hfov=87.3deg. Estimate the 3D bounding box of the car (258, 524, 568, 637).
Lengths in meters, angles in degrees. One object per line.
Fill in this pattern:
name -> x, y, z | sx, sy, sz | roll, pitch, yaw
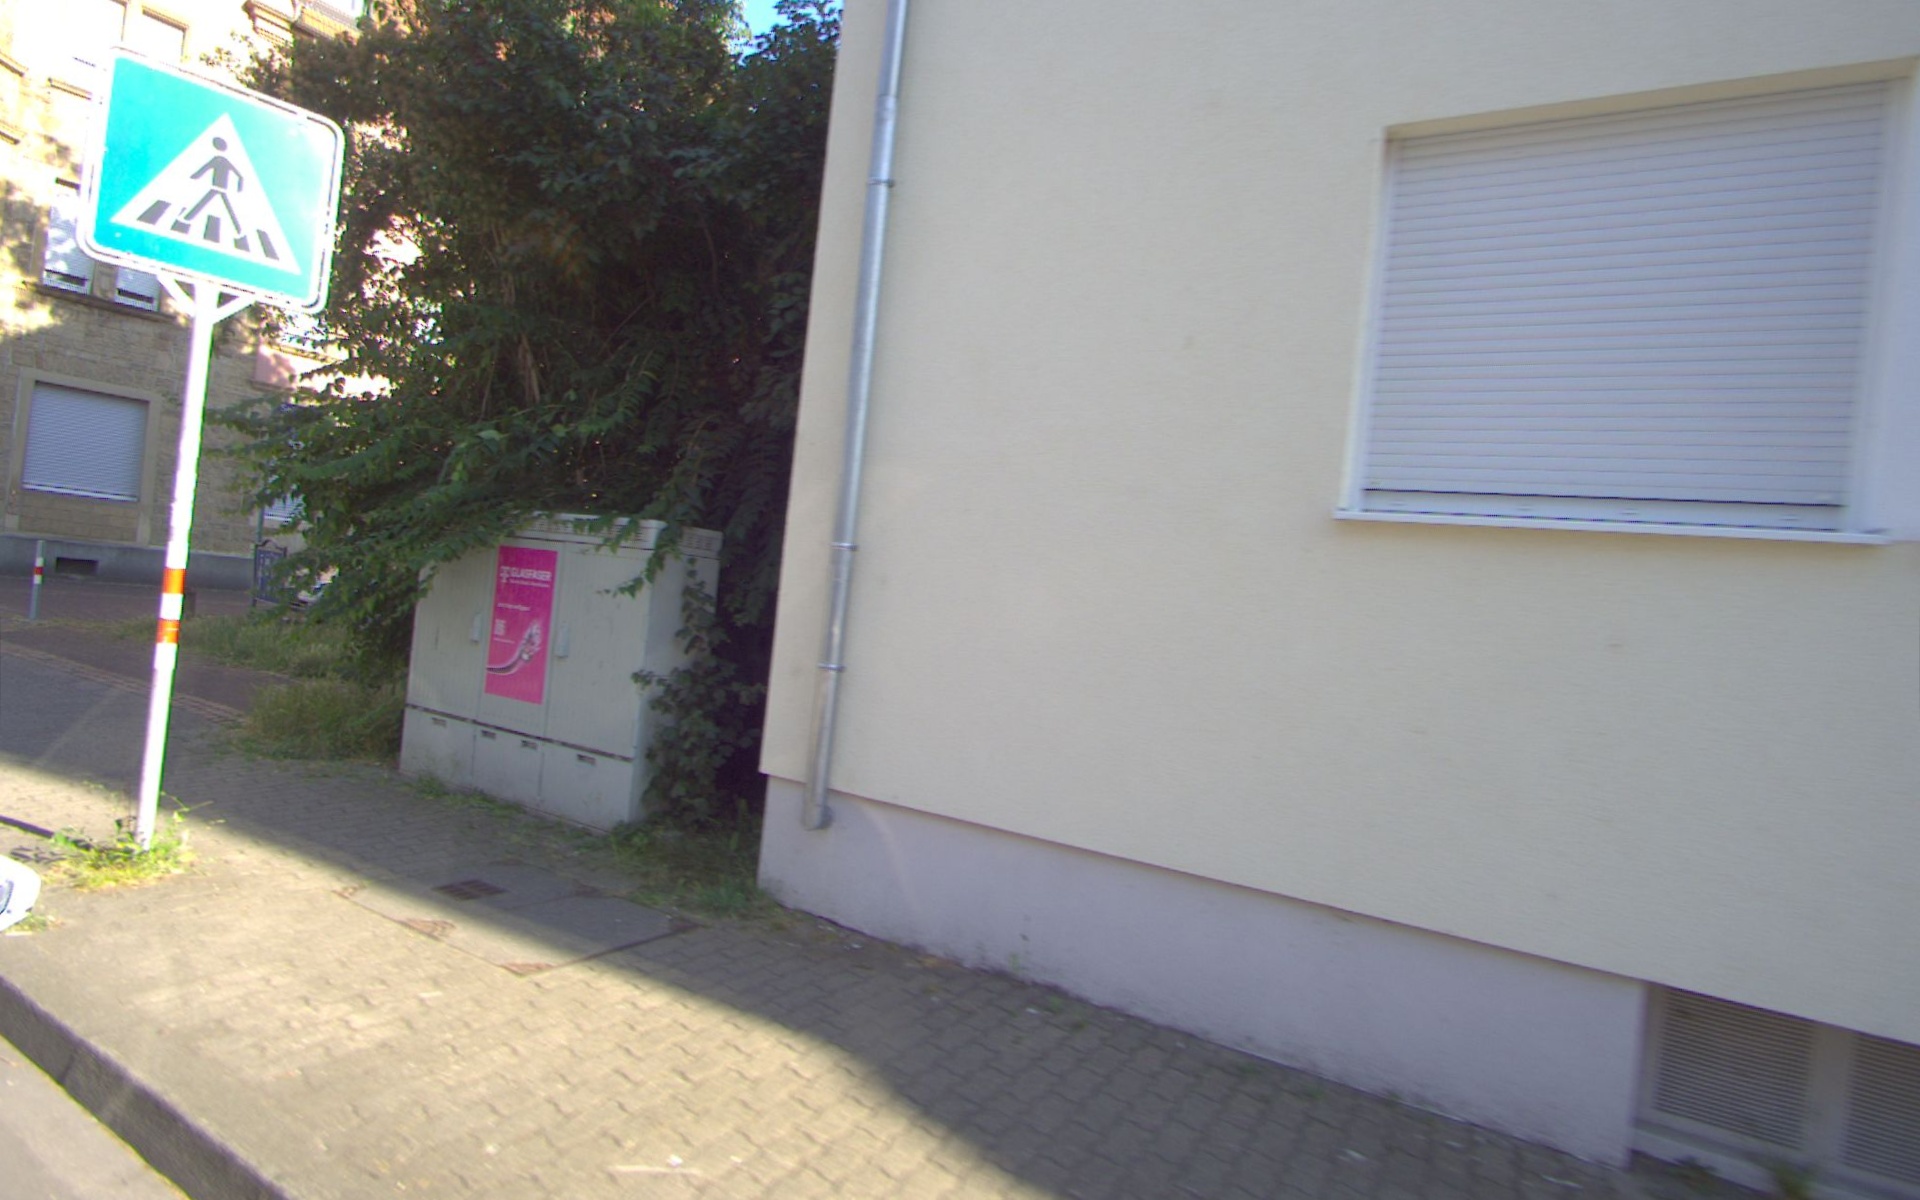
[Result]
car -> -8.755, -0.254, 16.373 | 1.873, 1.439, 3.951 | 7, 2, 37
